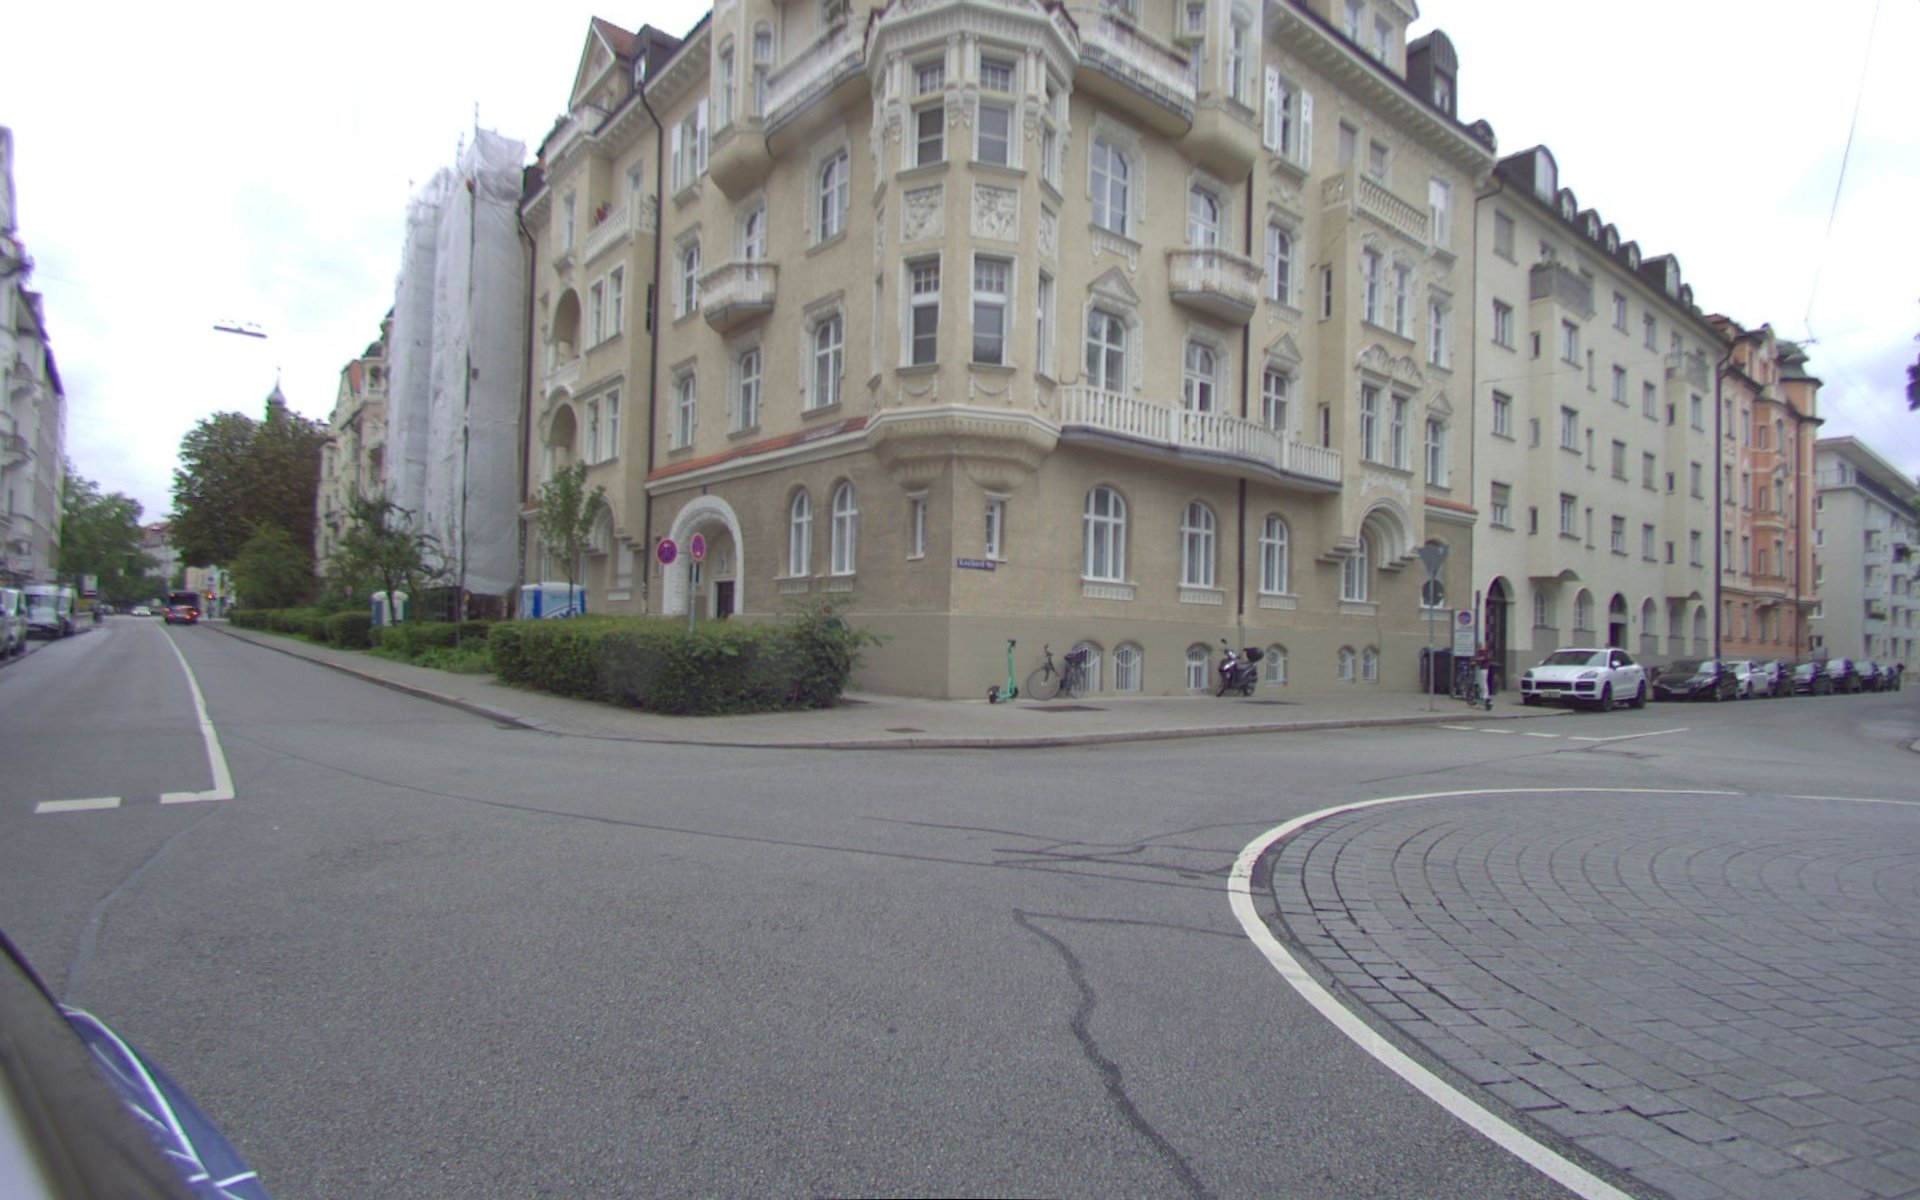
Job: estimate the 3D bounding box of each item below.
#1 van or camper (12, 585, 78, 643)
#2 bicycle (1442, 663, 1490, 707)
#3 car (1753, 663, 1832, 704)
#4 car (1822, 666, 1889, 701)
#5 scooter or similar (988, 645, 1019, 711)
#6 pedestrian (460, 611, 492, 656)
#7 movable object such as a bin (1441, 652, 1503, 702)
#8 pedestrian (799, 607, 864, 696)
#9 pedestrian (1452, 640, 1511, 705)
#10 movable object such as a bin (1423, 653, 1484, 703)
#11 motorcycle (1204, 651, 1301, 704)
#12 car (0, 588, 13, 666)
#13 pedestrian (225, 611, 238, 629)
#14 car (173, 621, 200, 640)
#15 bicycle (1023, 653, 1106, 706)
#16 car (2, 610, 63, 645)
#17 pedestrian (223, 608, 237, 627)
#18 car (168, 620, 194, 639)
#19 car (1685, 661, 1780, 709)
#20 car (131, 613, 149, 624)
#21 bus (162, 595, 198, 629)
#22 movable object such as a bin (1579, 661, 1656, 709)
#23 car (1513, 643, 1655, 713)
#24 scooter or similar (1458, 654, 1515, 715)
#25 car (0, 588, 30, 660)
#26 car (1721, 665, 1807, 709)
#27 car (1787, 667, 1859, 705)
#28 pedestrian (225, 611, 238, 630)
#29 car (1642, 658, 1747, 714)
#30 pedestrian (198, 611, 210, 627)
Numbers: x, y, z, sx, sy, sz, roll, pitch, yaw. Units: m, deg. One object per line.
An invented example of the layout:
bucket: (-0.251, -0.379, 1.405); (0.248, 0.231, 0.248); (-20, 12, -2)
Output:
van or camper: (-44.795, 0.681, 49.637); (1.928, 2.657, 5.469); (3, -3, -39)
bicycle: (13.986, 2.330, 27.954); (1.817, 1.158, 0.551); (4, -3, -42)
car: (36.389, 3.605, 44.212); (4.146, 1.608, 2.003); (3, -3, -41)
car: (45.327, 4.190, 51.193); (4.146, 1.608, 2.003); (3, -3, -41)
scooter or similar: (0.814, 1.456, 19.175); (0.522, 1.175, 1.356); (2, -2, 0)
pedestrian: (-19.443, 1.358, 40.650); (0.902, 1.765, 0.949); (4, -3, -39)
movable object such as a bin: (16.129, 2.416, 31.911); (1.276, 1.468, 1.347); (4, -3, -39)
pedestrian: (-2.720, 1.092, 21.427); (0.876, 1.824, 1.058); (4, -3, -39)
pedestrian: (15.319, 2.115, 29.733); (1.251, 1.818, 1.134); (4, -3, -39)
movable object such as a bin: (15.148, 2.375, 31.066); (1.144, 1.468, 1.347); (4, -3, -39)
motorcycle: (7.089, 1.851, 24.442); (2.523, 1.189, 1.008); (4, -3, -41)
car: (-25.353, 0.648, 25.427); (1.935, 1.952, 5.001); (4, -3, -40)
pedestrian: (-71.056, 1.974, 98.715); (0.862, 1.758, 0.912); (4, -3, -40)
car: (-70.371, 2.771, 92.091); (1.745, 1.657, 4.281); (4, -3, -39)
bicycle: (2.177, 1.642, 20.923); (1.853, 1.030, 0.561); (4, -3, -40)
car: (-41.107, 1.203, 44.930); (1.731, 1.445, 4.094); (4, -3, -40)
pedestrian: (-80.781, 1.945, 111.966); (0.771, 2.029, 0.828); (1, -2, 8)
car: (-66.922, 2.513, 86.906); (1.564, 1.490, 3.789); (4, -3, -39)
car: (28.774, 3.123, 37.640); (4.146, 1.608, 2.003); (3, -3, -41)
car: (-118.344, 2.667, 146.096); (1.898, 1.630, 4.007); (3, -2, -39)
bus: (-77.315, 1.225, 100.228); (2.546, 3.124, 8.940); (4, -3, -38)
movable object such as a bin: (20.041, 2.568, 30.846); (1.513, 1.360, 1.565); (3, -3, -39)
car: (17.165, 2.110, 27.750); (4.734, 1.704, 2.003); (3, -3, -41)
scooter or similar: (13.003, 2.069, 25.040); (0.699, 1.405, 1.356); (2, -2, 1)
car: (-29.344, 0.675, 30.276); (1.935, 2.029, 5.001); (4, -3, -40)
car: (32.743, 3.482, 41.183); (4.146, 1.608, 2.003); (3, -3, -41)
car: (40.745, 4.039, 47.758); (4.146, 1.608, 2.003); (3, -3, -41)
pedestrian: (-70.018, 1.971, 97.299); (0.896, 1.758, 0.848); (4, -3, -40)
car: (25.077, 2.892, 34.492); (4.146, 1.704, 2.003); (3, -3, -41)
pedestrian: (-94.065, 2.357, 125.899); (0.937, 2.029, 1.400); (3, -2, -29)
